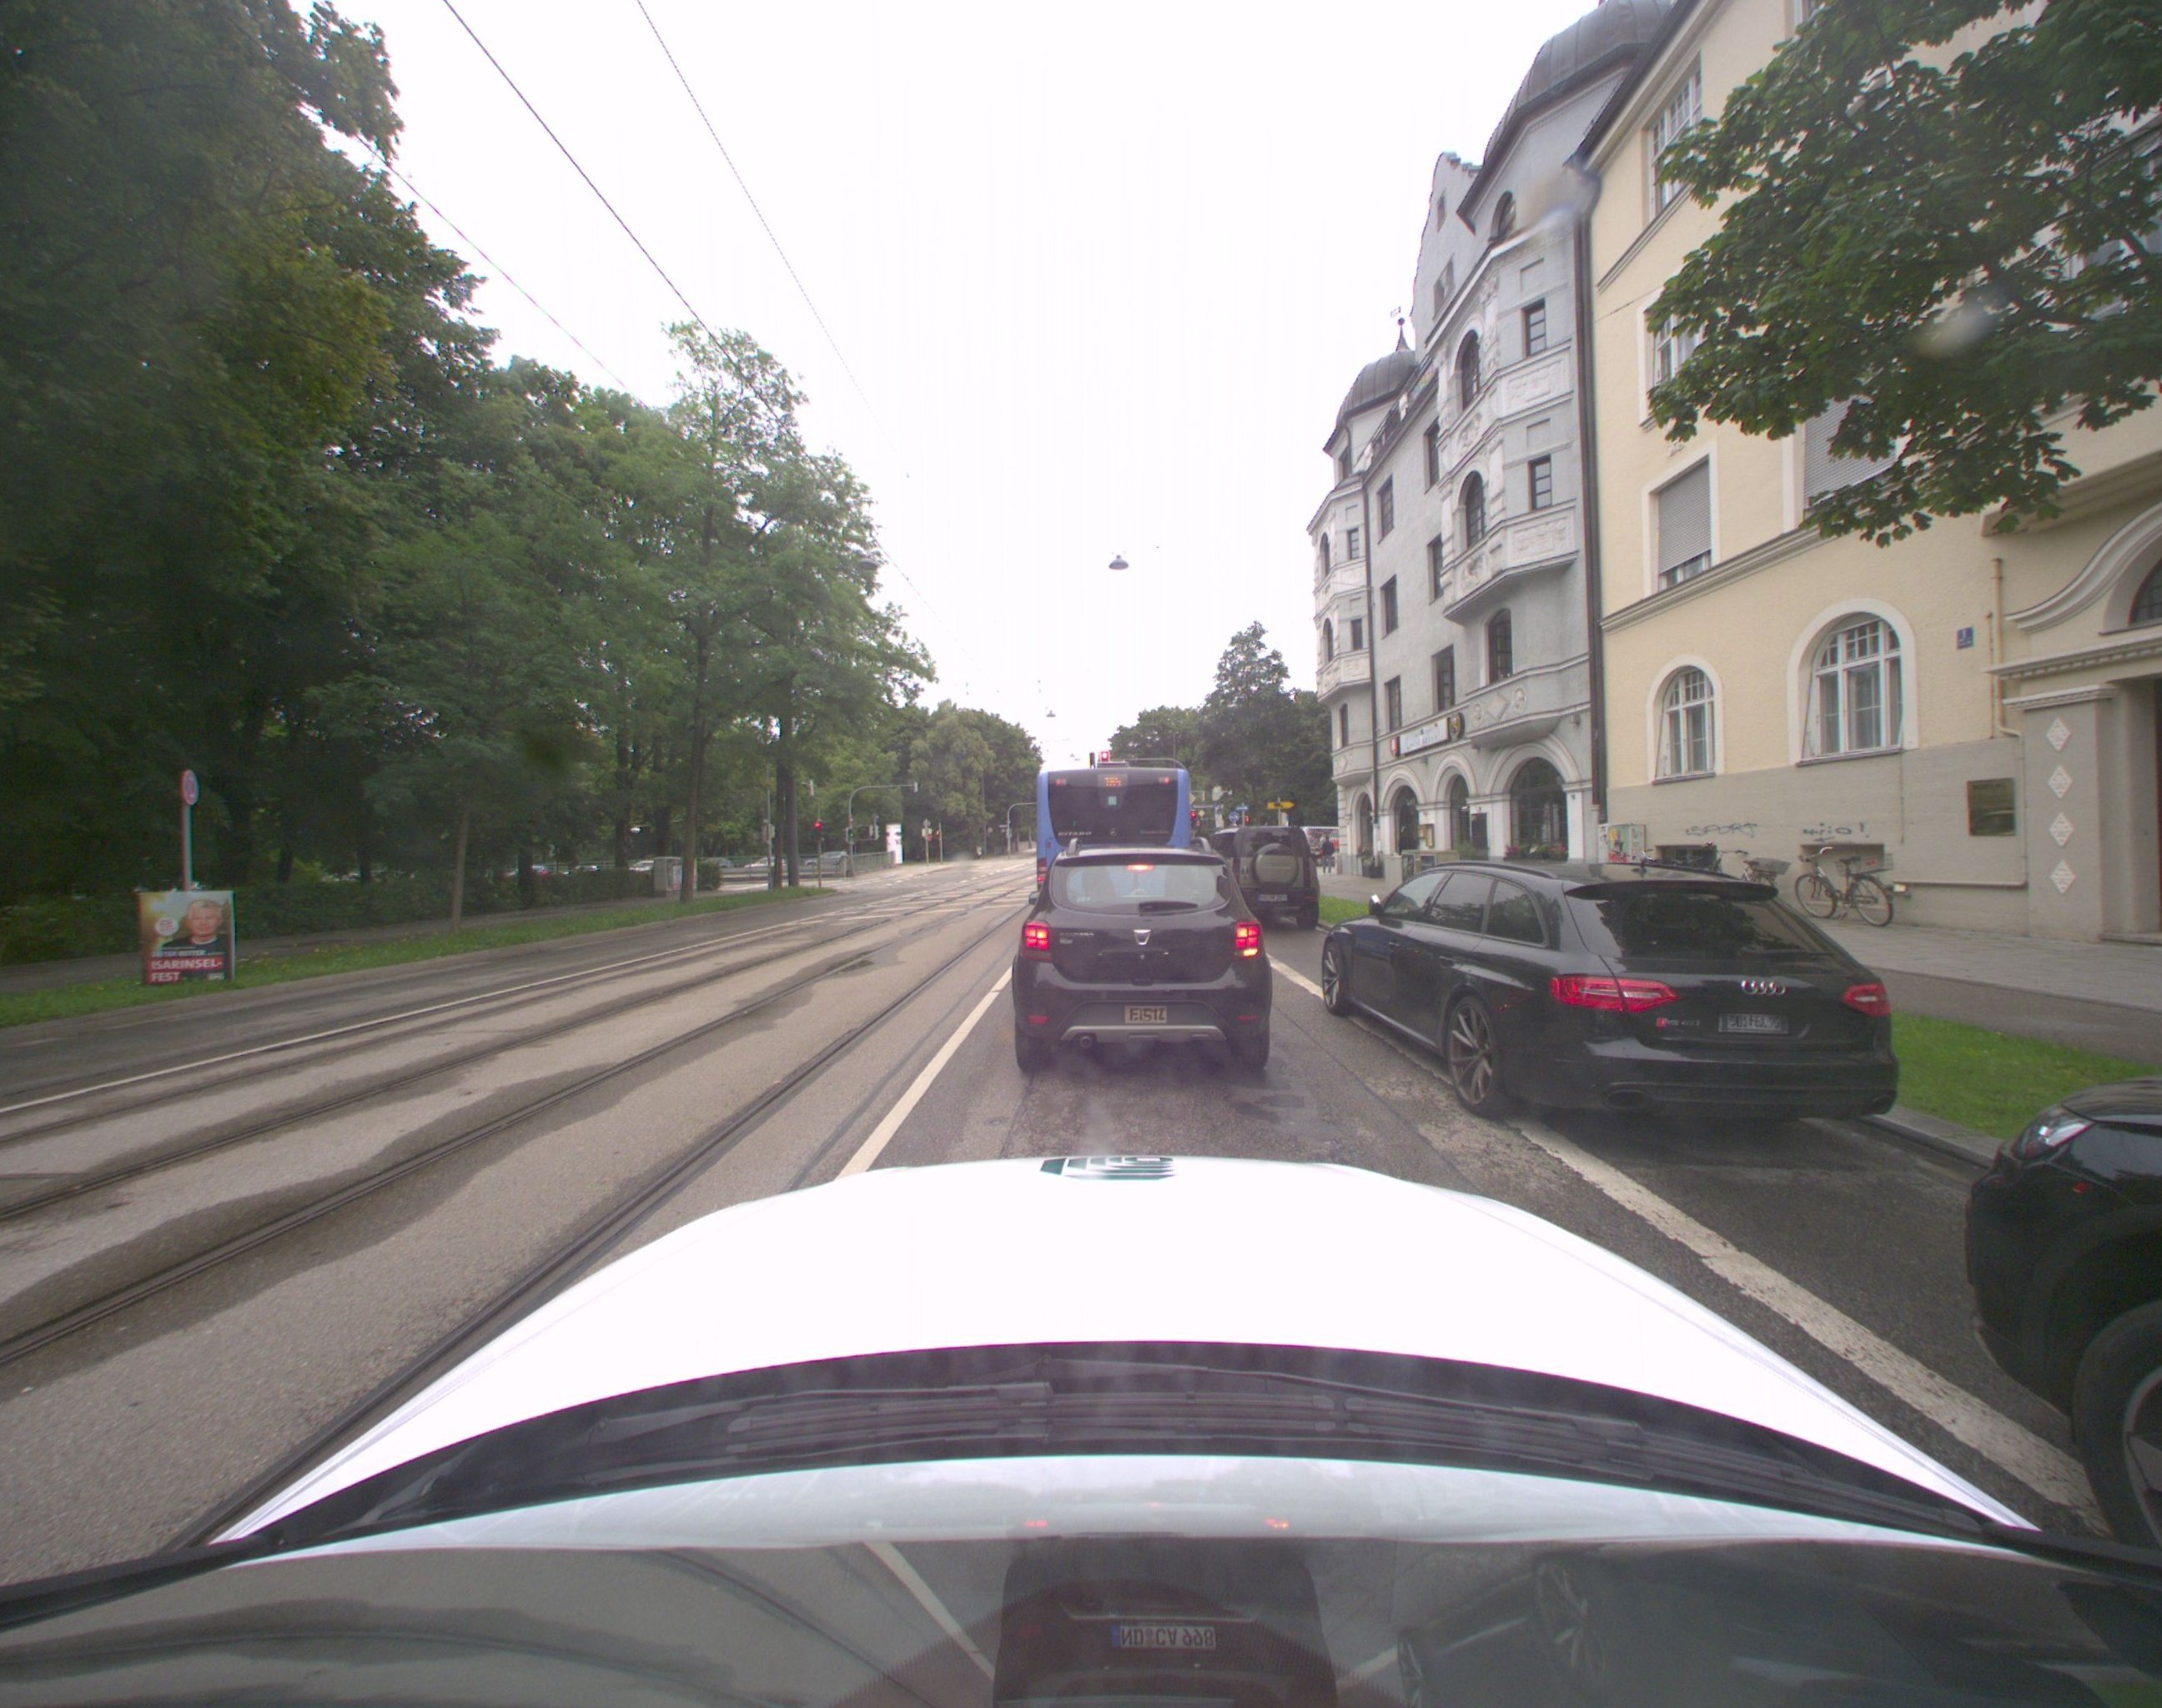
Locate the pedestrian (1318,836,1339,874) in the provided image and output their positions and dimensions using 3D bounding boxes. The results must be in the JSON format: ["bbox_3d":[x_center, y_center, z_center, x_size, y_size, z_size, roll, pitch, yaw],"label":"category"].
[{"bbox_3d":[11.265,0.035,37.112,0.702,1.732,0.843,0,0,2],"label":"pedestrian"}]

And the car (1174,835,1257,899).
[{"bbox_3d":[3.580,0.326,22.299,1.708,1.591,4.329,0,0,2],"label":"car"}]

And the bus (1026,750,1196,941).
[{"bbox_3d":[0.473,-0.139,16.280,2.670,2.997,6.960,0,0,0],"label":"bus"}]

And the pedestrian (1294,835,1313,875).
[{"bbox_3d":[10.284,0.040,37.646,0.702,1.816,0.870,0,0,2],"label":"pedestrian"}]

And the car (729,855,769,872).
[{"bbox_3d":[-29.890,0.858,73.339,3.103,1.452,1.249,0,0,-4],"label":"car"}]

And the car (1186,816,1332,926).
[{"bbox_3d":[3.389,0.296,16.509,1.908,1.905,4.807,0,0,0],"label":"car"}]

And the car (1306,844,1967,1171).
[{"bbox_3d":[3.063,0.670,5.862,1.709,1.426,4.603,0,0,1],"label":"car"}]

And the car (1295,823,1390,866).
[{"bbox_3d":[16.351,-0.596,51.166,5.281,2.612,2.229,0,0,-2],"label":"car"}]

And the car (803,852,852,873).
[{"bbox_3d":[-22.985,0.774,73.933,4.015,1.887,1.488,0,0,-5],"label":"car"}]

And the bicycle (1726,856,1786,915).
[{"bbox_3d":[11.001,0.505,13.298,0.284,0.930,0.886,0,0,3],"label":"bicycle"}]

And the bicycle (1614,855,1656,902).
[{"bbox_3d":[11.256,0.485,16.562,0.289,0.930,0.886,0,0,3],"label":"bicycle"}]

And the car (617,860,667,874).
[{"bbox_3d":[-39.404,1.164,73.143,3.720,1.185,1.249,0,0,-3],"label":"car"}]

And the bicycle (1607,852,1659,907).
[{"bbox_3d":[10.814,0.484,15.981,0.241,1.039,1.224,0,0,2],"label":"bicycle"}]

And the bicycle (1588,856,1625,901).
[{"bbox_3d":[11.285,0.513,17.499,0.258,0.930,0.886,0,0,3],"label":"bicycle"}]

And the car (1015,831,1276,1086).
[{"bbox_3d":[0.433,0.634,6.734,1.595,1.556,3.526,0,0,1],"label":"car"}]

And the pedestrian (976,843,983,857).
[{"bbox_3d":[-10.516,-0.390,84.306,0.529,1.501,0.589,0,0,6],"label":"pedestrian"}]

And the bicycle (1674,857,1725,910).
[{"bbox_3d":[11.102,0.512,14.633,0.271,0.930,0.886,0,0,3],"label":"bicycle"}]

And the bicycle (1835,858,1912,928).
[{"bbox_3d":[10.990,0.527,11.315,0.220,0.930,0.886,0,0,1],"label":"bicycle"}]

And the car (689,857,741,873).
[{"bbox_3d":[-32.980,1.020,73.401,3.915,1.404,1.719,0,0,-3],"label":"car"}]

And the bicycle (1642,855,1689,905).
[{"bbox_3d":[11.193,0.480,15.602,0.304,0.930,0.886,0,0,4],"label":"bicycle"}]
